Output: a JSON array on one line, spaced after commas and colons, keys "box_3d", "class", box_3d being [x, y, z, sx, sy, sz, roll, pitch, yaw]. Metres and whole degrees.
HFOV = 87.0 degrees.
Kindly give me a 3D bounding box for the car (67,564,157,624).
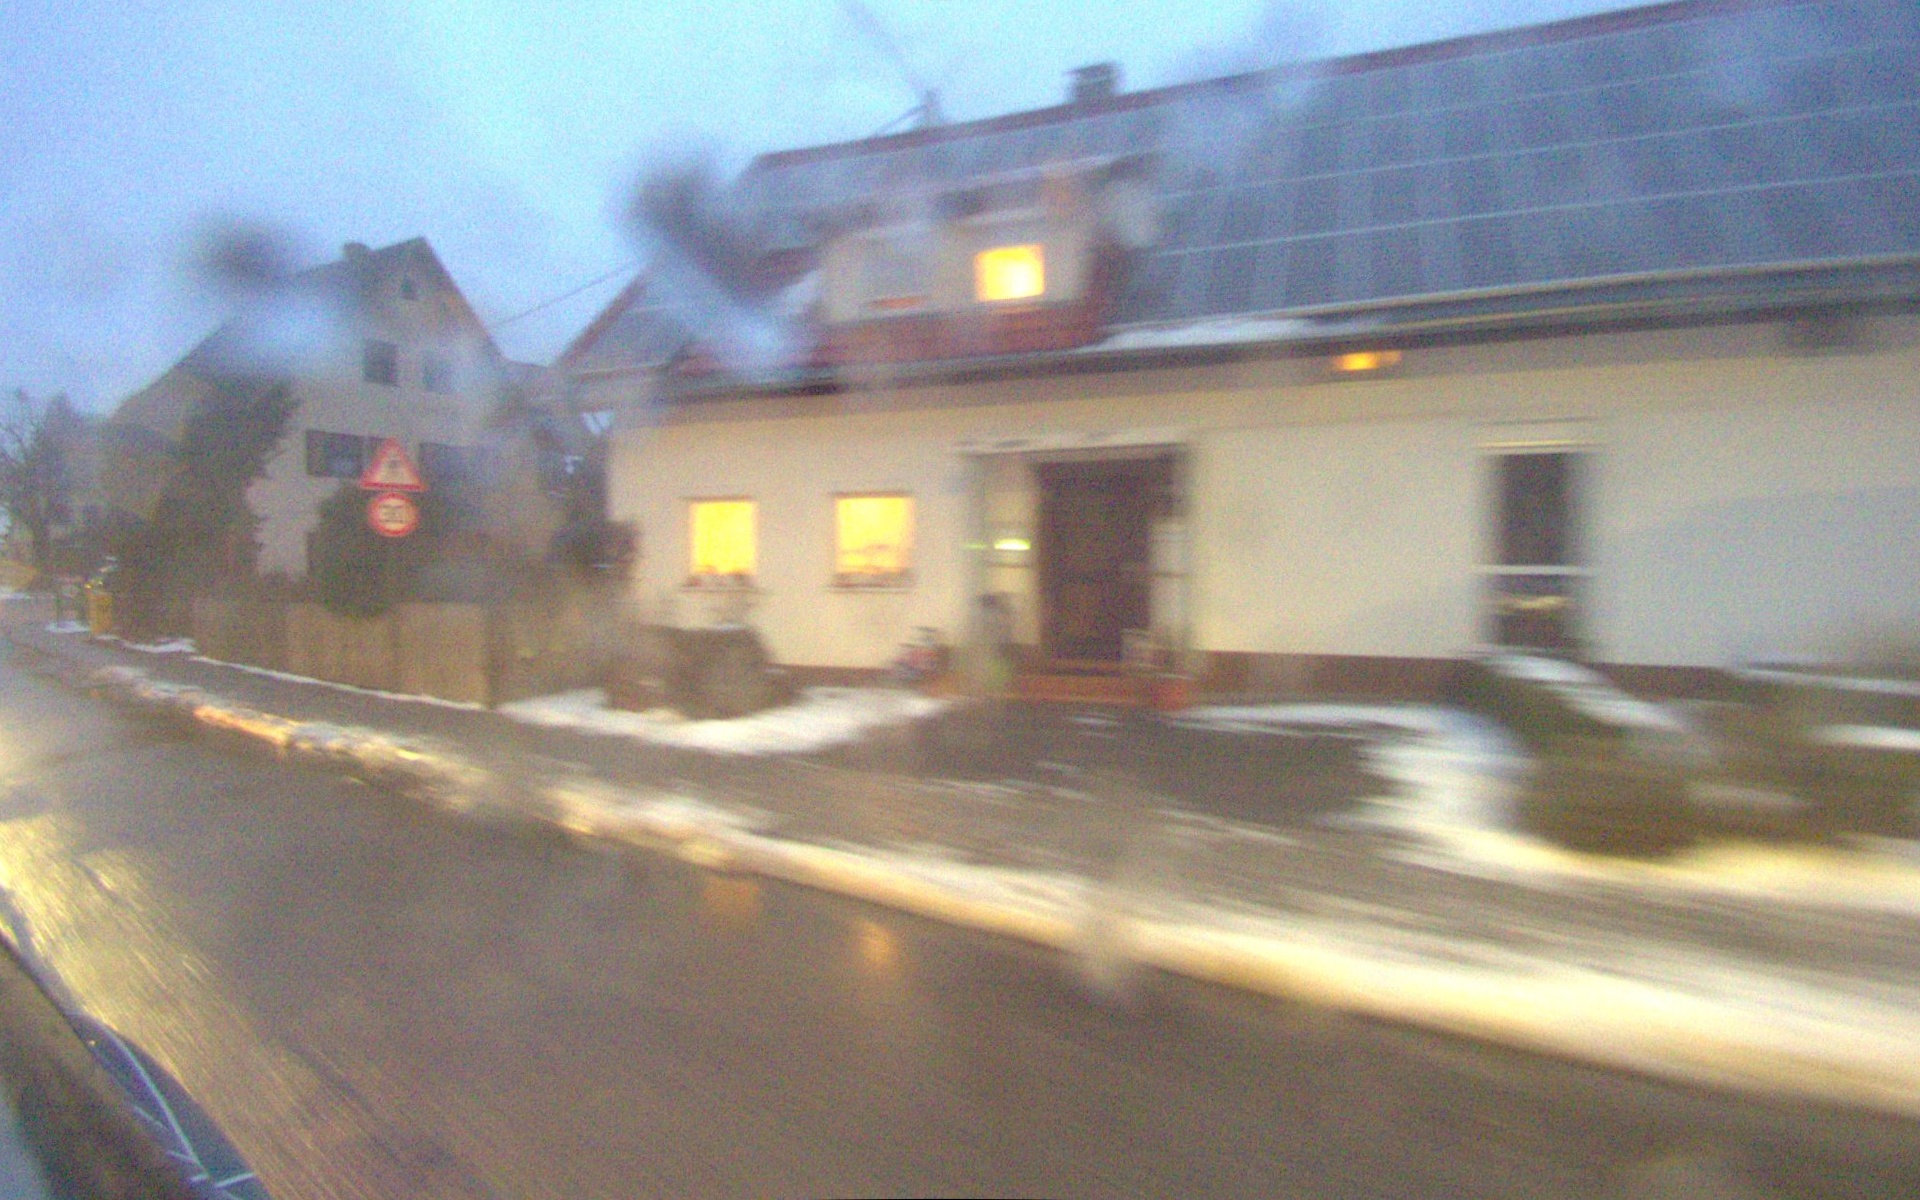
[{"box_3d": [-32.467, -0.299, 38.704, 4.081, 2.051, 1.973, 2, 6, 42], "class": "car"}]
